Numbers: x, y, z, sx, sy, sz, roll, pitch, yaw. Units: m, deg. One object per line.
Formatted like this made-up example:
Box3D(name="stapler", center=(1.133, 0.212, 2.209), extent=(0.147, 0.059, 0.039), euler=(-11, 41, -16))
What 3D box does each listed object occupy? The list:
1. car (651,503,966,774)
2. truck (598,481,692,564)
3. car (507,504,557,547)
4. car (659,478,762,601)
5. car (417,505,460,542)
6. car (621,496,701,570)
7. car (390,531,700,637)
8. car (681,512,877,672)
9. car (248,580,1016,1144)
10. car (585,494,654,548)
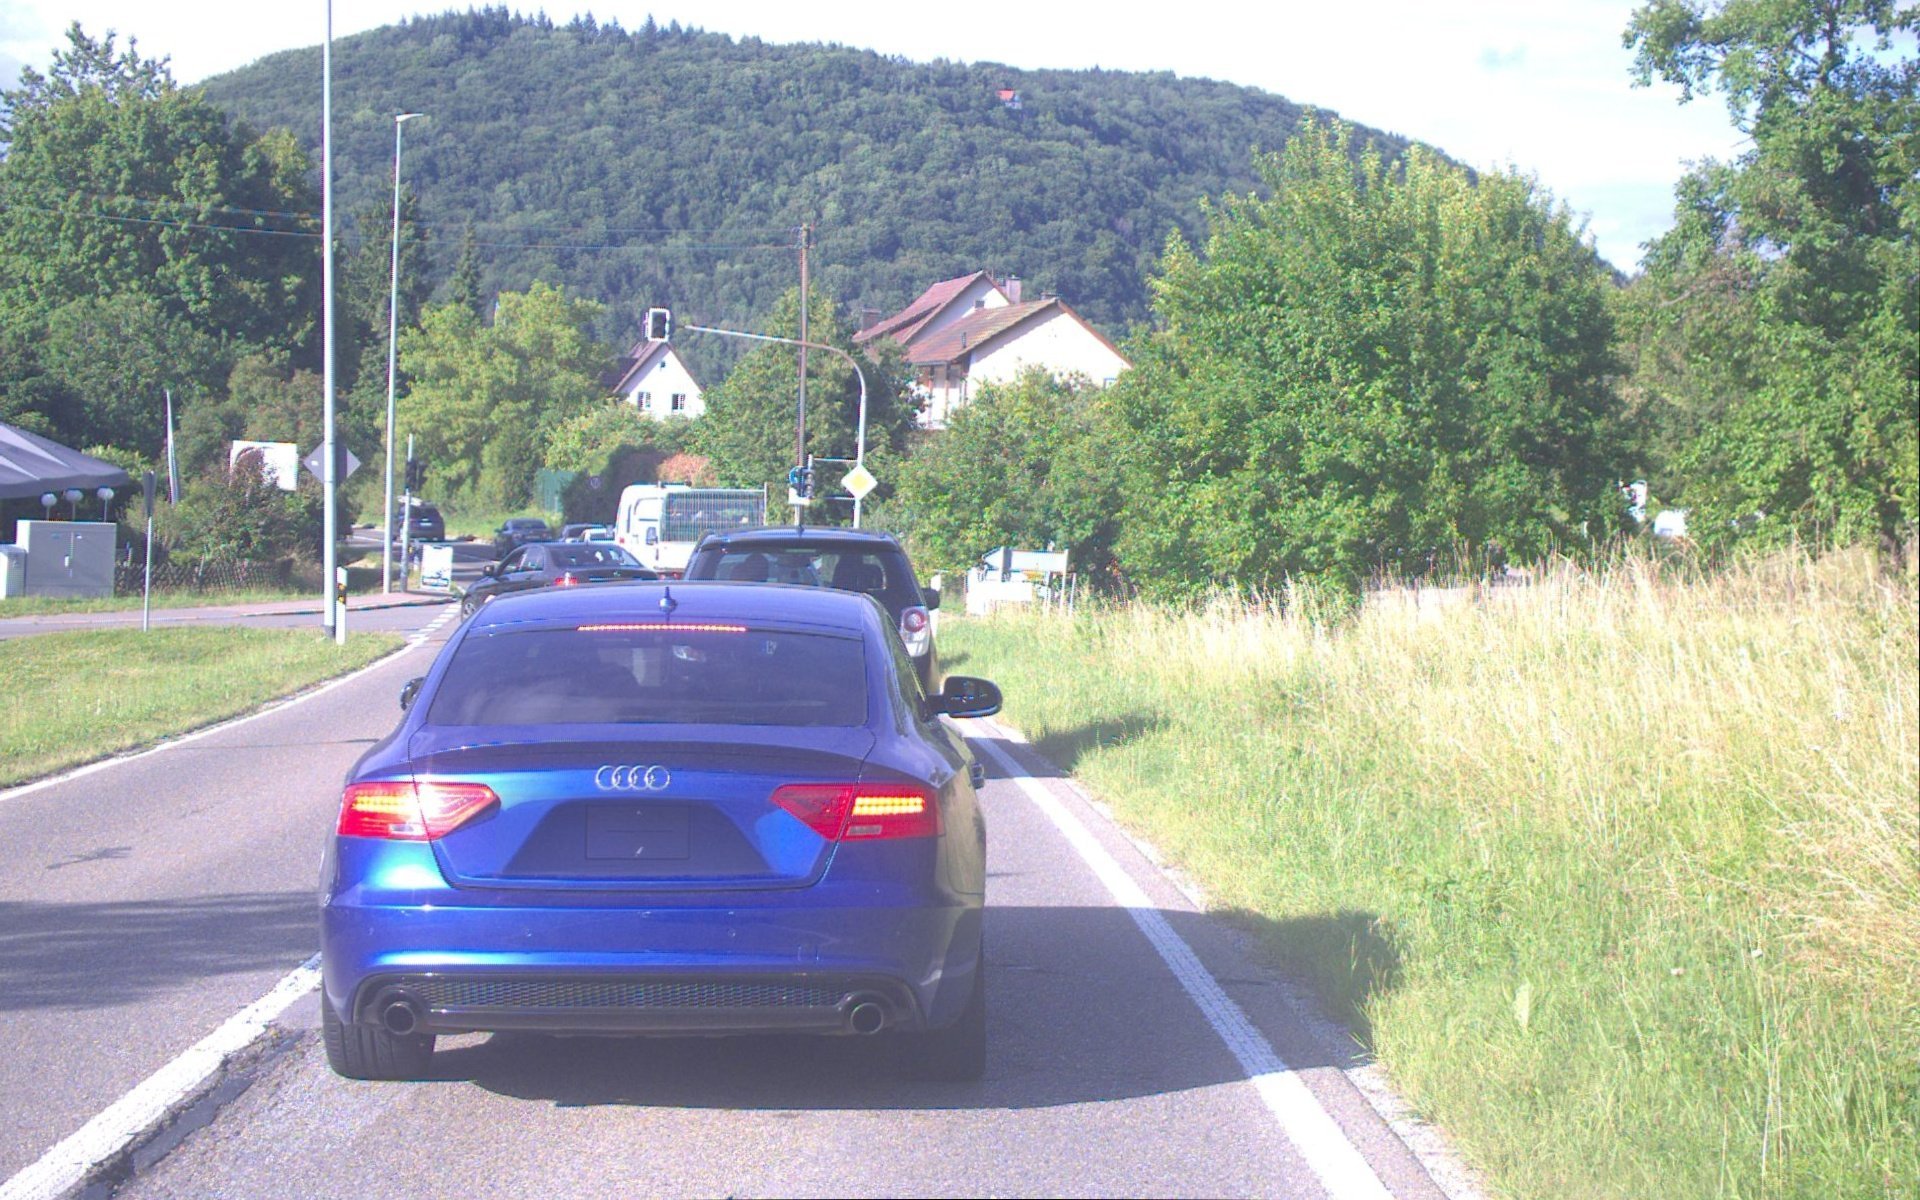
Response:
Box3D(name="car", center=(-0.932, 0.224, 23.194), extent=(1.746, 1.634, 4.000), euler=(1, 0, 3))
Box3D(name="truck", center=(-7.815, -1.880, 84.849), extent=(1.697, 1.947, 5.924), euler=(1, 0, -11))
Box3D(name="car", center=(-15.558, -2.708, 124.909), extent=(1.697, 1.485, 3.528), euler=(1, 0, -9))
Box3D(name="car", center=(-4.688, -1.106, 64.211), extent=(1.746, 2.188, 4.001), euler=(1, 0, -6))
Box3D(name="car", center=(-22.869, -3.344, 150.630), extent=(1.625, 1.571, 3.680), euler=(1, 0, -12))
Box3D(name="car", center=(-6.935, -1.536, 79.523), extent=(1.746, 1.634, 4.001), euler=(1, 0, -6))
Box3D(name="car", center=(-5.984, -0.240, 49.627), extent=(3.991, 1.437, 1.918), euler=(1, 0, 19))
Box3D(name="car", center=(-1.940, -0.099, 38.124), extent=(1.805, 1.634, 4.463), euler=(1, 0, 1))
Box3D(name="car", center=(-0.785, 0.635, 10.517), extent=(1.795, 1.383, 4.000), euler=(0, 0, 3))
Box3D(name="car", center=(-10.020, -2.304, 101.021), extent=(1.697, 1.485, 3.528), euler=(1, 0, -11))
